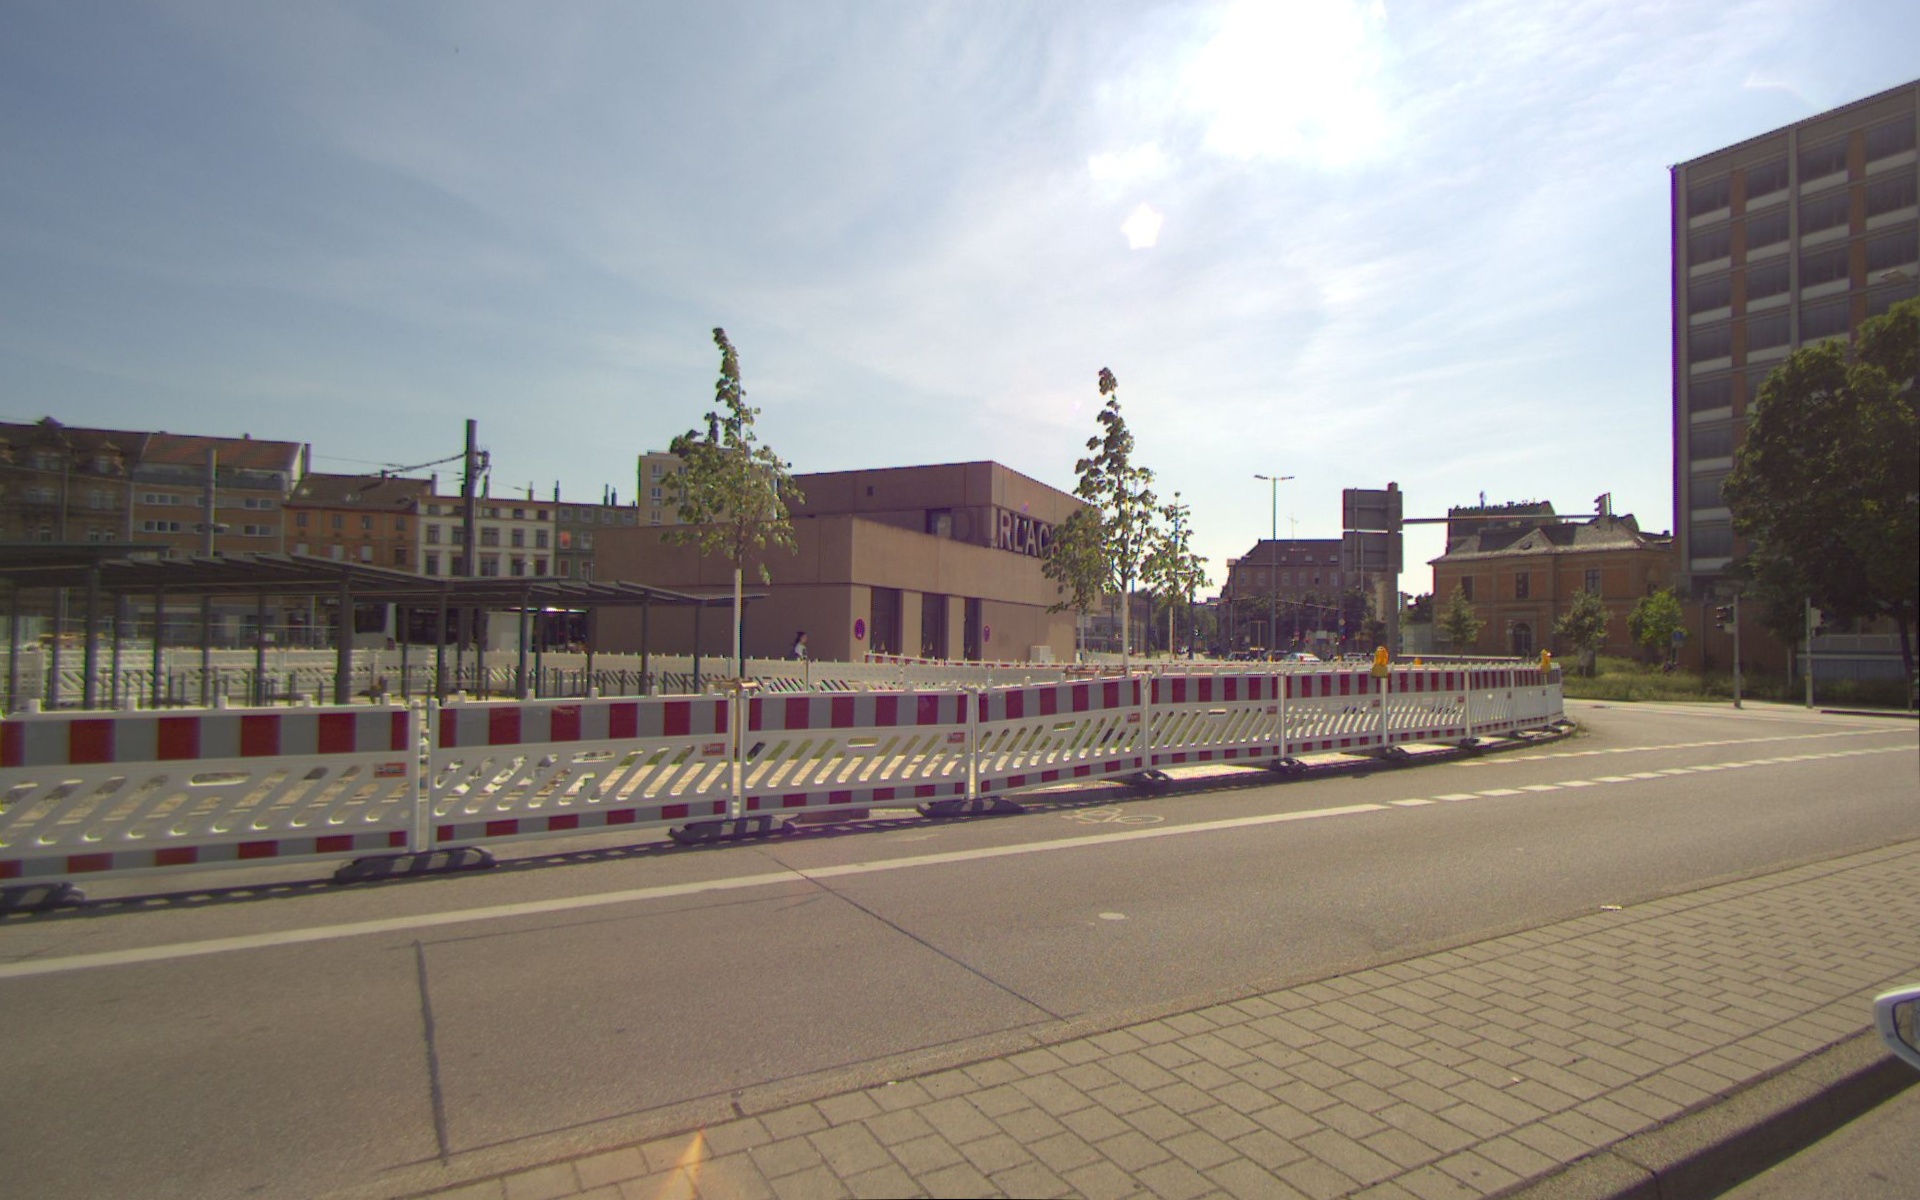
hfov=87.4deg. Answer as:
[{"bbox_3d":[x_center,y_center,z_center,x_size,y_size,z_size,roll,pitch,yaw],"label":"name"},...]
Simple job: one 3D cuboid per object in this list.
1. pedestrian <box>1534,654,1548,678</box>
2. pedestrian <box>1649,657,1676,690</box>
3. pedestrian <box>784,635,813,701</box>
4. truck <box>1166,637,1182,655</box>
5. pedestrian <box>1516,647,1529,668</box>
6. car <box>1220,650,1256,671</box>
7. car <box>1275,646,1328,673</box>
[{"bbox_3d":[42.506,4.796,73.489,0.638,1.683,0.650,2,0,-3],"label":"pedestrian"},{"bbox_3d":[38.082,4.003,54.452,0.857,1.748,0.799,2,-2,-7],"label":"pedestrian"},{"bbox_3d":[-3.947,1.656,24.540,0.416,1.585,0.557,0,-3,27],"label":"pedestrian"},{"bbox_3d":[46.305,10.074,217.717,3.011,3.779,7.937,1,-3,10],"label":"truck"},{"bbox_3d":[45.080,4.593,80.527,0.641,1.683,0.647,2,-3,-22],"label":"pedestrian"},{"bbox_3d":[21.887,4.764,79.096,1.764,1.530,4.002,1,-3,1],"label":"car"},{"bbox_3d":[24.252,4.211,71.465,1.963,1.839,3.996,1,-3,-7],"label":"car"}]
